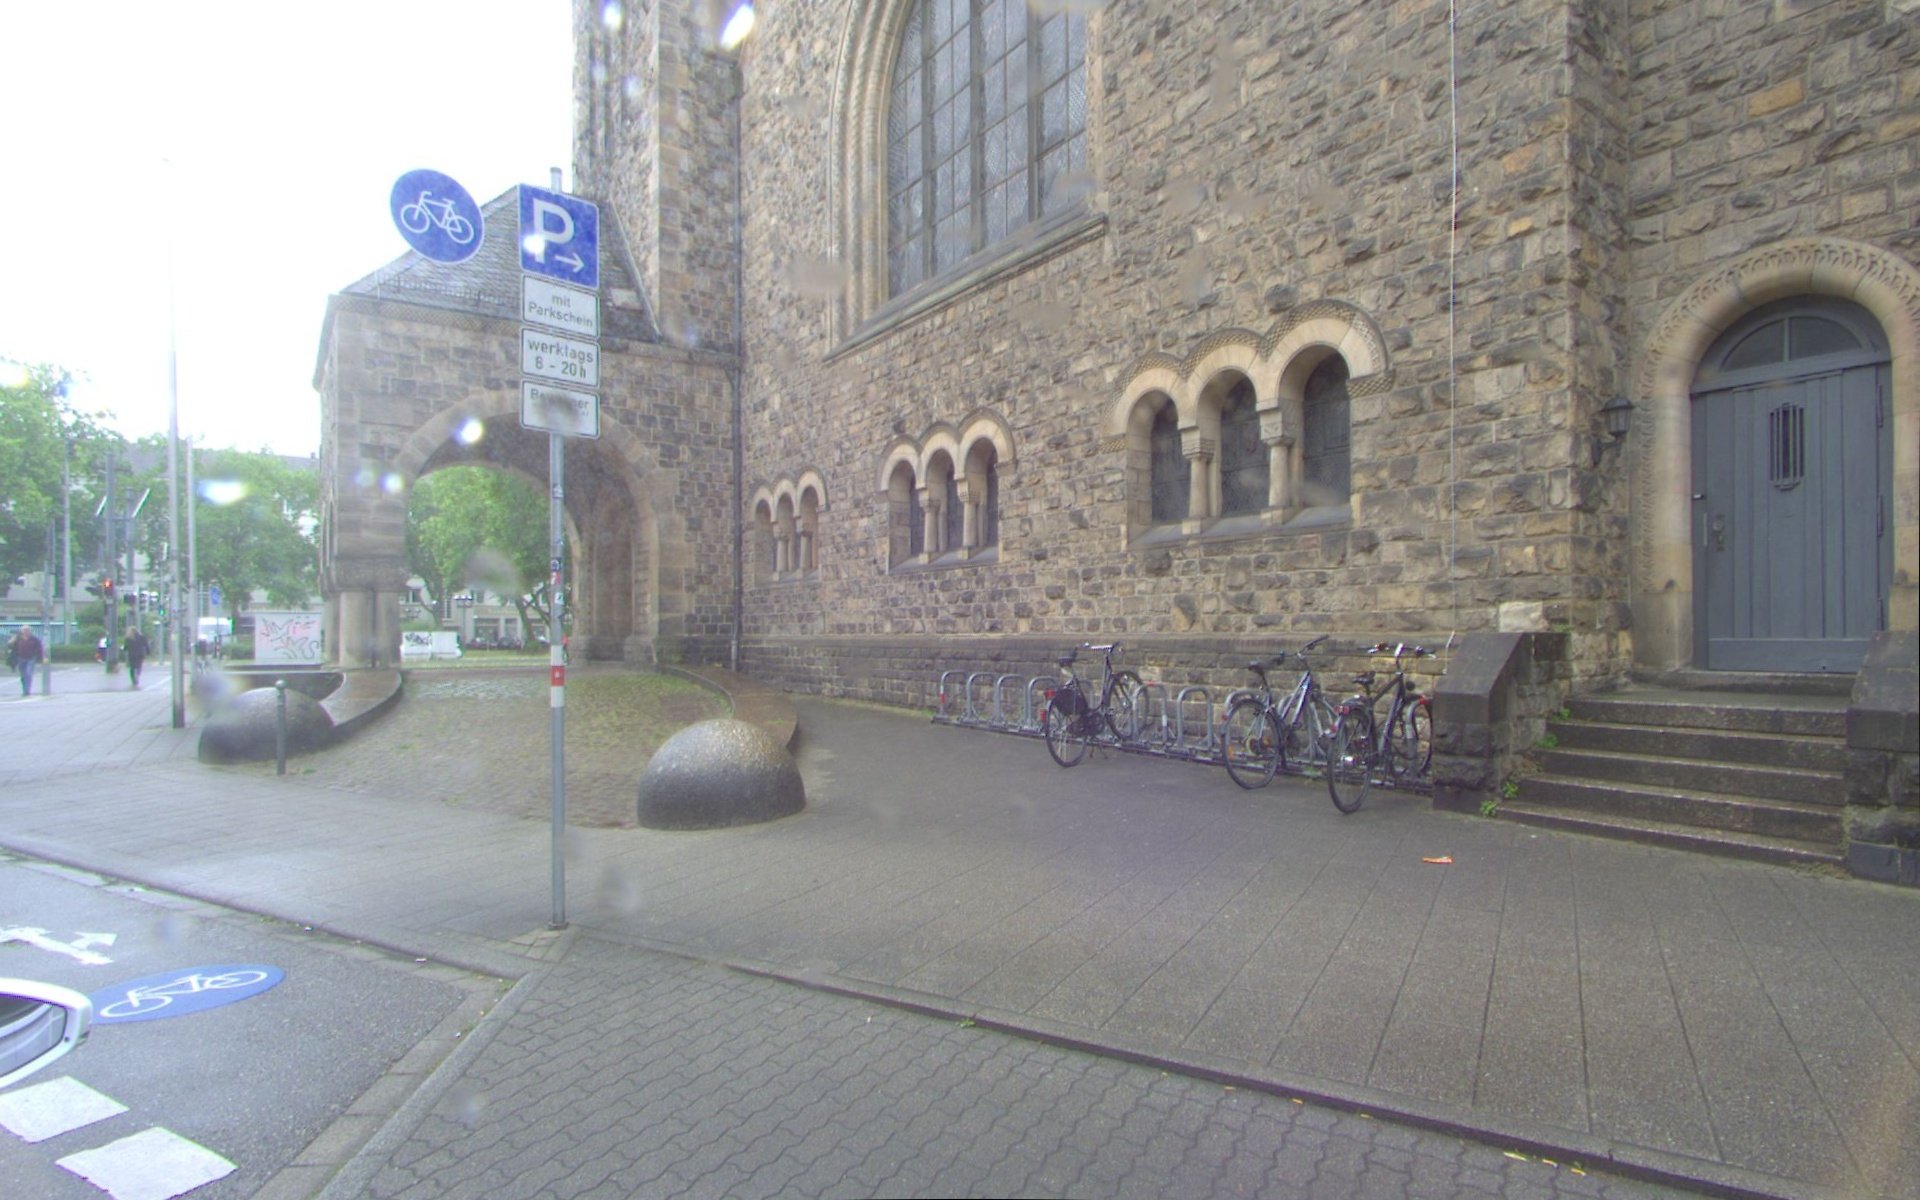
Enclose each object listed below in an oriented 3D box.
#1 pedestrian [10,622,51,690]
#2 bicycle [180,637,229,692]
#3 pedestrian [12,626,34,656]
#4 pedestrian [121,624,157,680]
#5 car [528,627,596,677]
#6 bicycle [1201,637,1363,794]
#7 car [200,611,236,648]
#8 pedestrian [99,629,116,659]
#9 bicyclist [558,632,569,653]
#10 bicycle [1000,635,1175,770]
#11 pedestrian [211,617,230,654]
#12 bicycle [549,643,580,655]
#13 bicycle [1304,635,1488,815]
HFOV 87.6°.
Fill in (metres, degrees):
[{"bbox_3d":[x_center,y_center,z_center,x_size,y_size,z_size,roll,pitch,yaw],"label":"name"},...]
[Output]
[{"bbox_3d":[-24.835,1.478,26.772,0.780,1.782,0.936,0,0,-43],"label":"pedestrian"},{"bbox_3d":[-16.608,1.396,22.002,2.049,1.169,0.327,-1,-1,38],"label":"bicycle"},{"bbox_3d":[-48.325,2.120,51.662,0.666,1.573,0.758,0,-2,-30],"label":"pedestrian"},{"bbox_3d":[-25.347,1.593,30.925,0.775,1.667,0.651,0,0,-34],"label":"pedestrian"},{"bbox_3d":[-12.703,1.626,31.871,1.389,1.498,3.200,1,-2,-34],"label":"car"},{"bbox_3d":[2.739,0.909,8.428,1.697,1.126,0.556,-2,0,-45],"label":"bicycle"},{"bbox_3d":[-53.686,2.128,72.521,1.888,2.588,4.757,0,-1,-34],"label":"car"},{"bbox_3d":[-45.288,2.333,53.184,0.607,1.624,0.491,0,-1,-34],"label":"pedestrian"},{"bbox_3d":[-24.767,2.653,62.588,0.517,1.266,0.648,0,-1,-36],"label":"bicyclist"},{"bbox_3d":[1.305,0.952,9.906,0.684,1.119,1.973,-1,0,43],"label":"bicycle"},{"bbox_3d":[-41.818,2.007,56.634,0.797,2.040,0.586,0,-1,-31],"label":"pedestrian"},{"bbox_3d":[-24.732,3.063,62.589,1.683,0.728,0.648,1,-1,-38],"label":"bicycle"},{"bbox_3d":[3.211,0.829,7.266,1.971,1.068,0.507,-2,0,-45],"label":"bicycle"}]
